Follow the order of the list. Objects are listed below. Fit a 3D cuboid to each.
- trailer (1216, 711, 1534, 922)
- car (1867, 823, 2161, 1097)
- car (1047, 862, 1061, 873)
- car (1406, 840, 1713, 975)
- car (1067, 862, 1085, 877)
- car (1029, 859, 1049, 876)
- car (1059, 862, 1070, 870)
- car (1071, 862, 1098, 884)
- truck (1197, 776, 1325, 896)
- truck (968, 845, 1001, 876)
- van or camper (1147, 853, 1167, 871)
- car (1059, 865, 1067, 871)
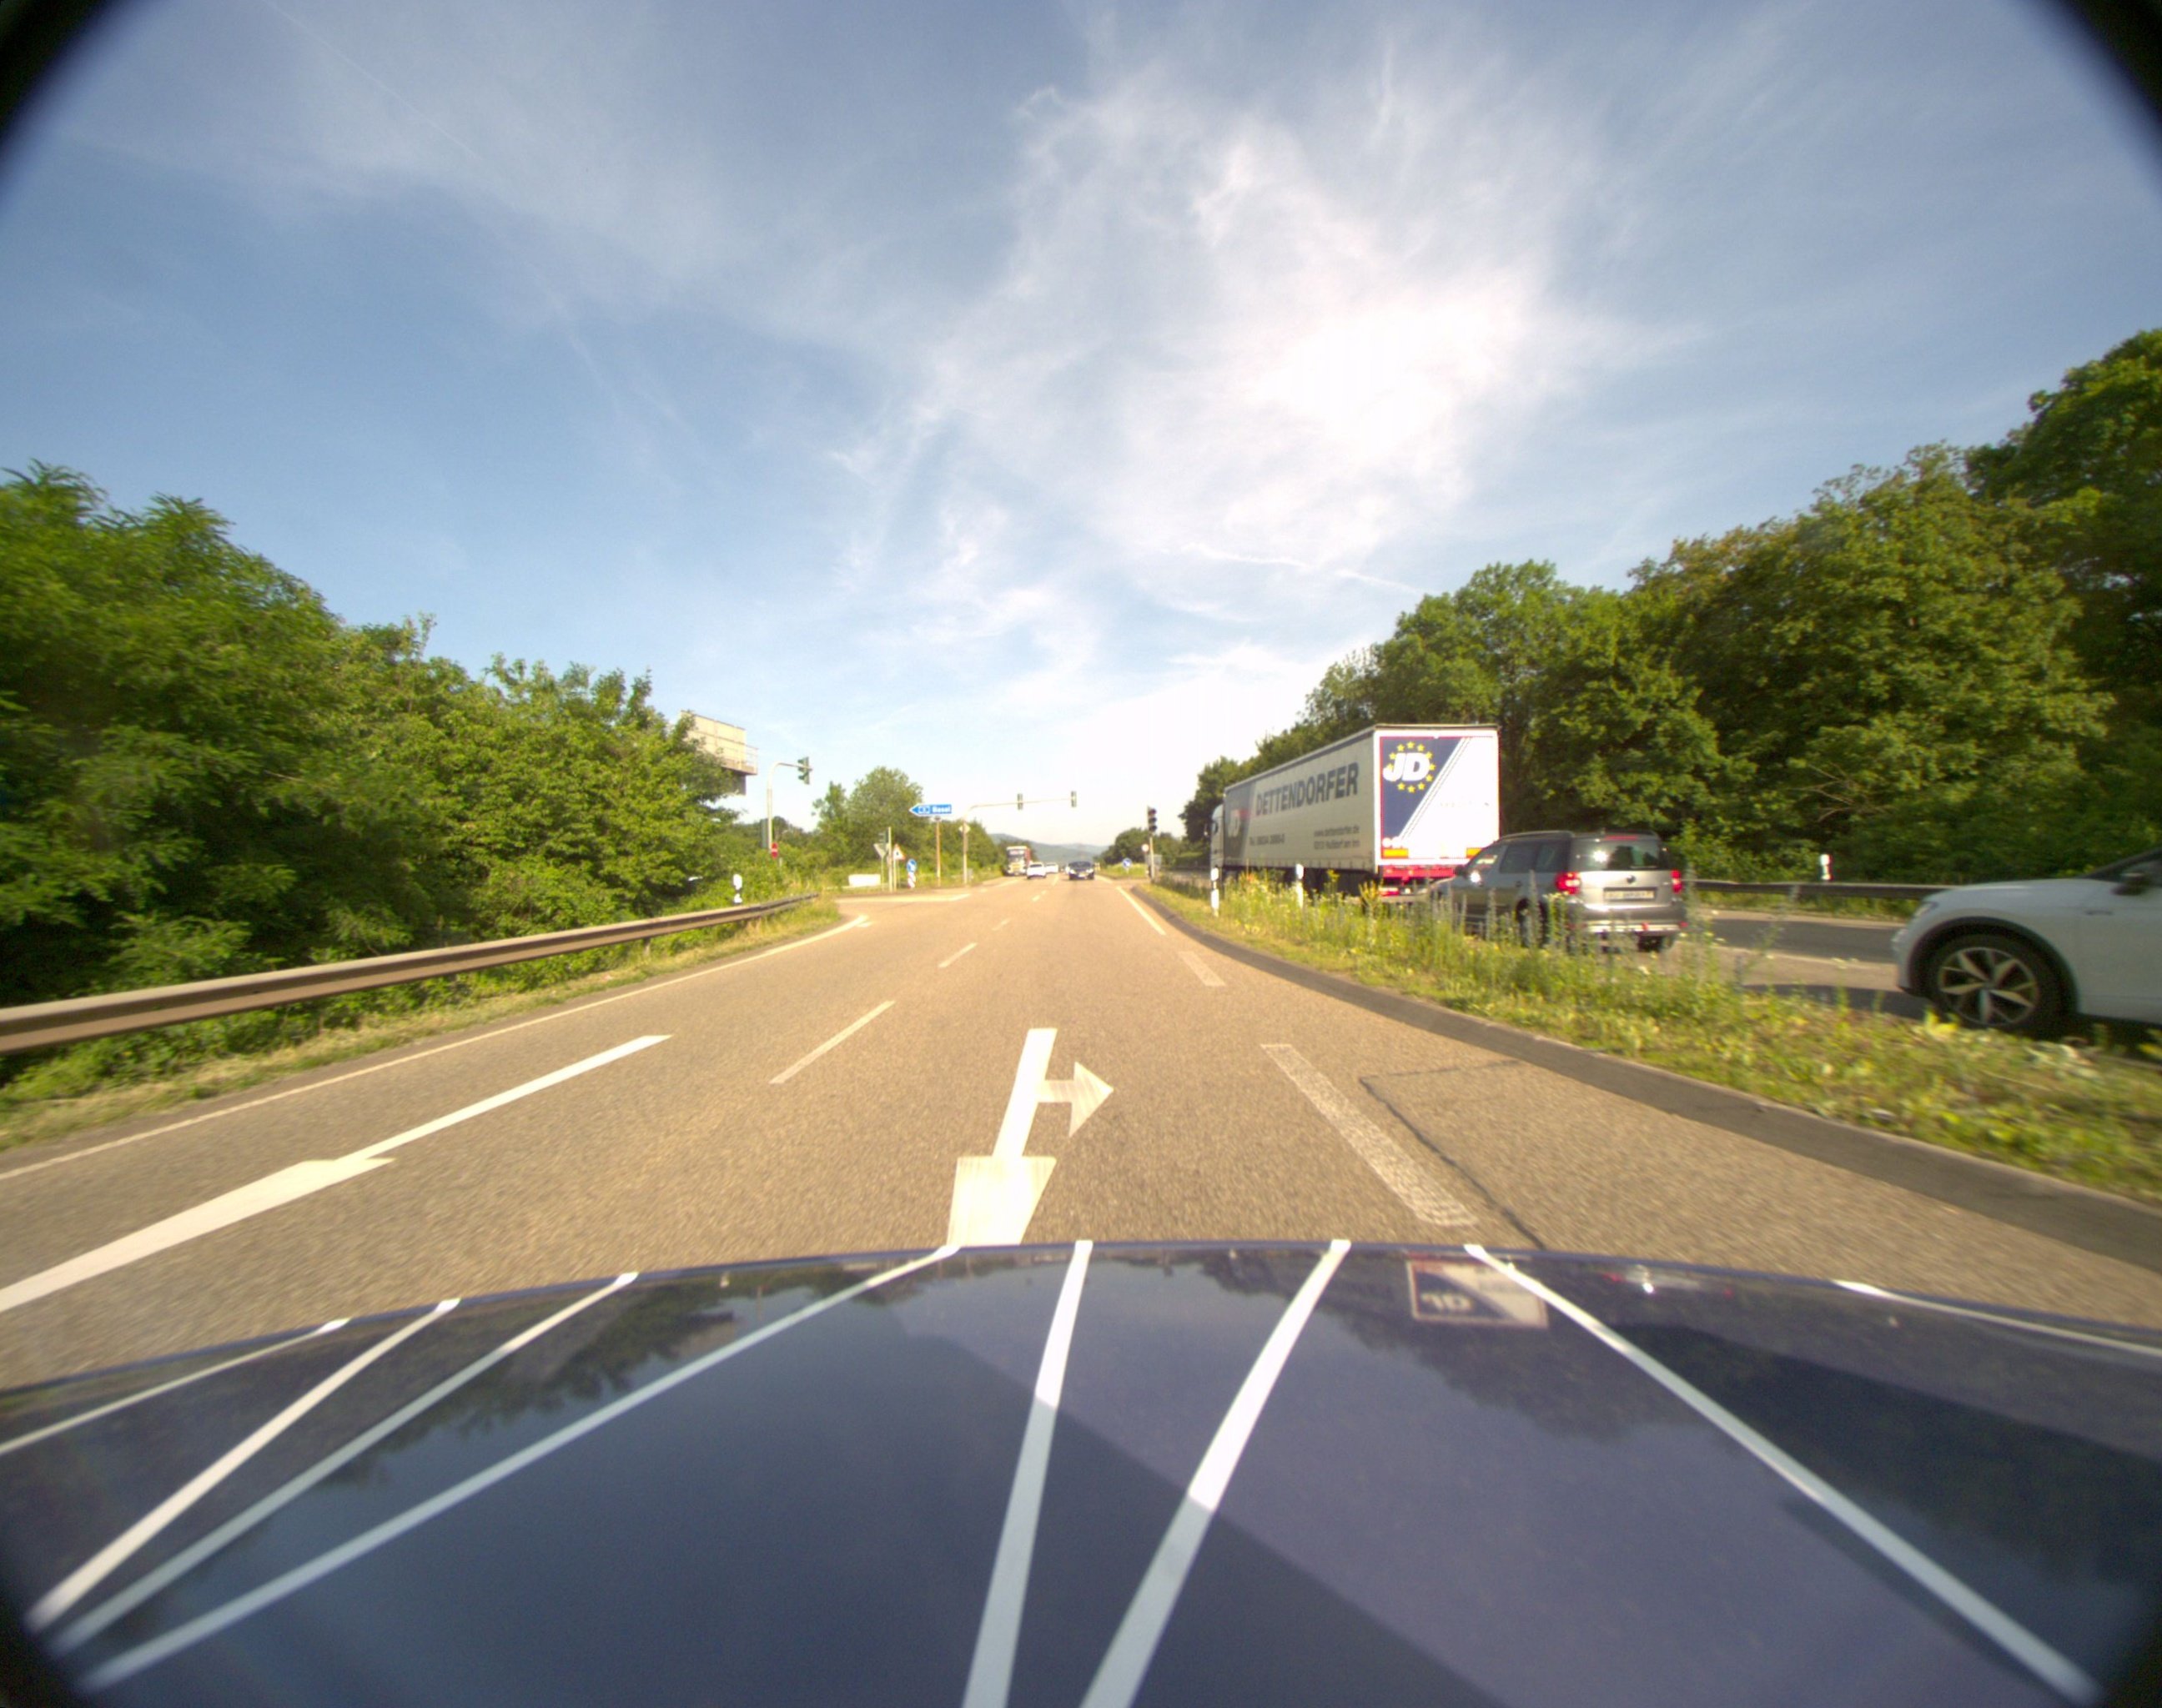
[{"bbox_3d":[7.001,-0.665,21.823,3.000,3.972,14.011,-3,0,-2],"label":"trailer"},{"bbox_3d":[7.269,0.610,3.765,1.704,1.622,4.746,-1,0,-3],"label":"car"},{"bbox_3d":[-4.315,2.133,120.154,1.999,1.632,3.999,-3,0,-4],"label":"car"},{"bbox_3d":[6.740,0.669,11.393,1.704,1.622,4.370,-1,0,-3],"label":"car"},{"bbox_3d":[-0.611,1.831,91.442,1.999,1.632,3.999,-3,0,-2],"label":"car"},{"bbox_3d":[-4.133,1.324,74.224,1.875,1.625,4.833,-1,0,-3],"label":"car"},{"bbox_3d":[-3.447,2.441,156.683,1.999,1.632,3.999,-3,0,-4],"label":"car"},{"bbox_3d":[0.223,1.377,57.093,1.862,1.452,4.569,-3,0,-2],"label":"car"},{"bbox_3d":[6.688,-0.599,29.413,2.899,3.973,6.720,-3,0,-3],"label":"truck"},{"bbox_3d":[-13.758,0.907,109.576,3.197,3.995,14.562,-3,0,-2],"label":"truck"},{"bbox_3d":[11.920,1.210,119.644,2.419,2.695,6.436,1,0,-1],"label":"van or camper"},{"bbox_3d":[-4.889,3.822,208.887,1.999,1.632,3.999,-3,0,-4],"label":"car"}]
